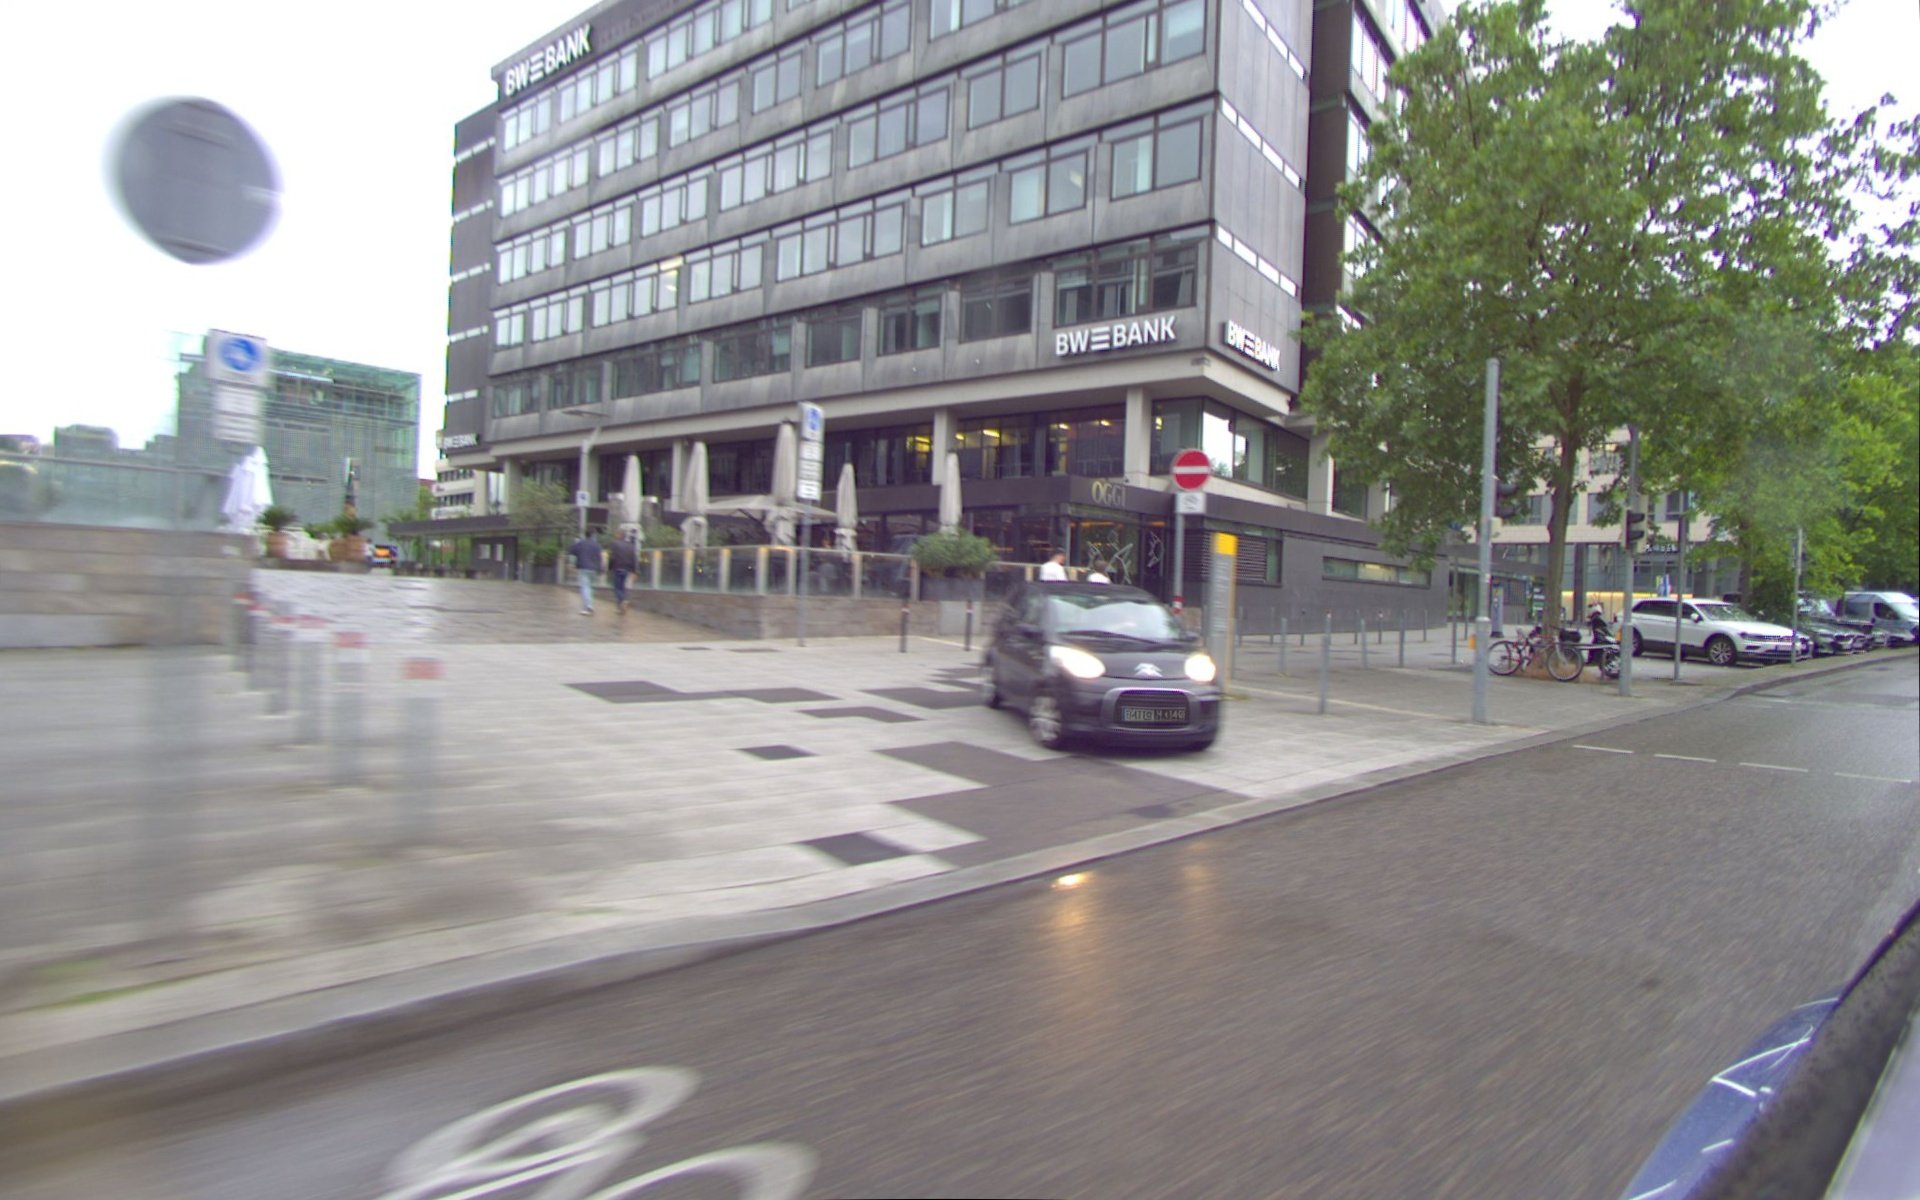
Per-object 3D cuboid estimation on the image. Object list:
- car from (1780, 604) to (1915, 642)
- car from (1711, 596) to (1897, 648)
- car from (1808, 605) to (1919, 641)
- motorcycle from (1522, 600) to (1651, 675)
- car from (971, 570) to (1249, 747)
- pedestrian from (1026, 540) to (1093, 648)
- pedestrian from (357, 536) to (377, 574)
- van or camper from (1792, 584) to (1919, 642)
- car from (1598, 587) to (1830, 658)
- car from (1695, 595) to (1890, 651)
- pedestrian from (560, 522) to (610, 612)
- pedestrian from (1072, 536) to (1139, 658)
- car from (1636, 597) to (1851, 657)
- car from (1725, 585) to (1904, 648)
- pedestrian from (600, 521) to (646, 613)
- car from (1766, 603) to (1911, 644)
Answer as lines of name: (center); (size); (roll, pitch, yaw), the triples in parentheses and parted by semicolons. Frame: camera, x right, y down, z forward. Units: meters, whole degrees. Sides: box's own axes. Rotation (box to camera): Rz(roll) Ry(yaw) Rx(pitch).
car: (37.313, 0.922, 42.695); (1.673, 1.442, 4.069); (1, 0, -12)
car: (27.481, 0.667, 33.171); (1.876, 1.557, 4.400); (1, 0, -14)
car: (39.483, 0.968, 43.813); (1.673, 1.442, 4.069); (1, 0, -12)
motorcycle: (12.388, 0.711, 20.075); (0.664, 1.374, 2.091); (1, 0, -33)
car: (1.274, 0.454, 10.194); (1.601, 1.434, 3.841); (1, 1, -10)
pedestrian: (1.807, -0.104, 18.398); (0.881, 1.892, 0.804); (1, 0, -33)
pedestrian: (-29.103, -2.204, 49.672); (0.575, 1.862, 0.648); (2, 1, 40)
van or camper: (42.120, 0.560, 46.286); (2.267, 2.478, 6.277); (1, 0, -11)
car: (19.386, 0.514, 26.369); (1.876, 1.671, 4.813); (1, 0, -11)
car: (25.526, 0.654, 31.248); (1.876, 1.557, 4.367); (1, 0, -14)
pedestrian: (-7.515, -0.652, 20.295); (0.766, 1.747, 0.644); (1, 0, -36)
pedestrian: (2.536, -0.058, 17.638); (0.740, 2.065, 0.851); (1, 0, -42)
car: (21.751, 0.694, 28.386); (1.877, 1.492, 4.731); (1, 0, -9)
car: (29.506, 0.521, 35.165); (1.882, 2.018, 4.527); (1, 0, -12)
pedestrian: (-6.919, -0.664, 20.775); (0.670, 1.846, 0.650); (1, 0, -41)
car: (33.912, 0.884, 39.207); (1.673, 1.442, 4.021); (1, 0, -12)
